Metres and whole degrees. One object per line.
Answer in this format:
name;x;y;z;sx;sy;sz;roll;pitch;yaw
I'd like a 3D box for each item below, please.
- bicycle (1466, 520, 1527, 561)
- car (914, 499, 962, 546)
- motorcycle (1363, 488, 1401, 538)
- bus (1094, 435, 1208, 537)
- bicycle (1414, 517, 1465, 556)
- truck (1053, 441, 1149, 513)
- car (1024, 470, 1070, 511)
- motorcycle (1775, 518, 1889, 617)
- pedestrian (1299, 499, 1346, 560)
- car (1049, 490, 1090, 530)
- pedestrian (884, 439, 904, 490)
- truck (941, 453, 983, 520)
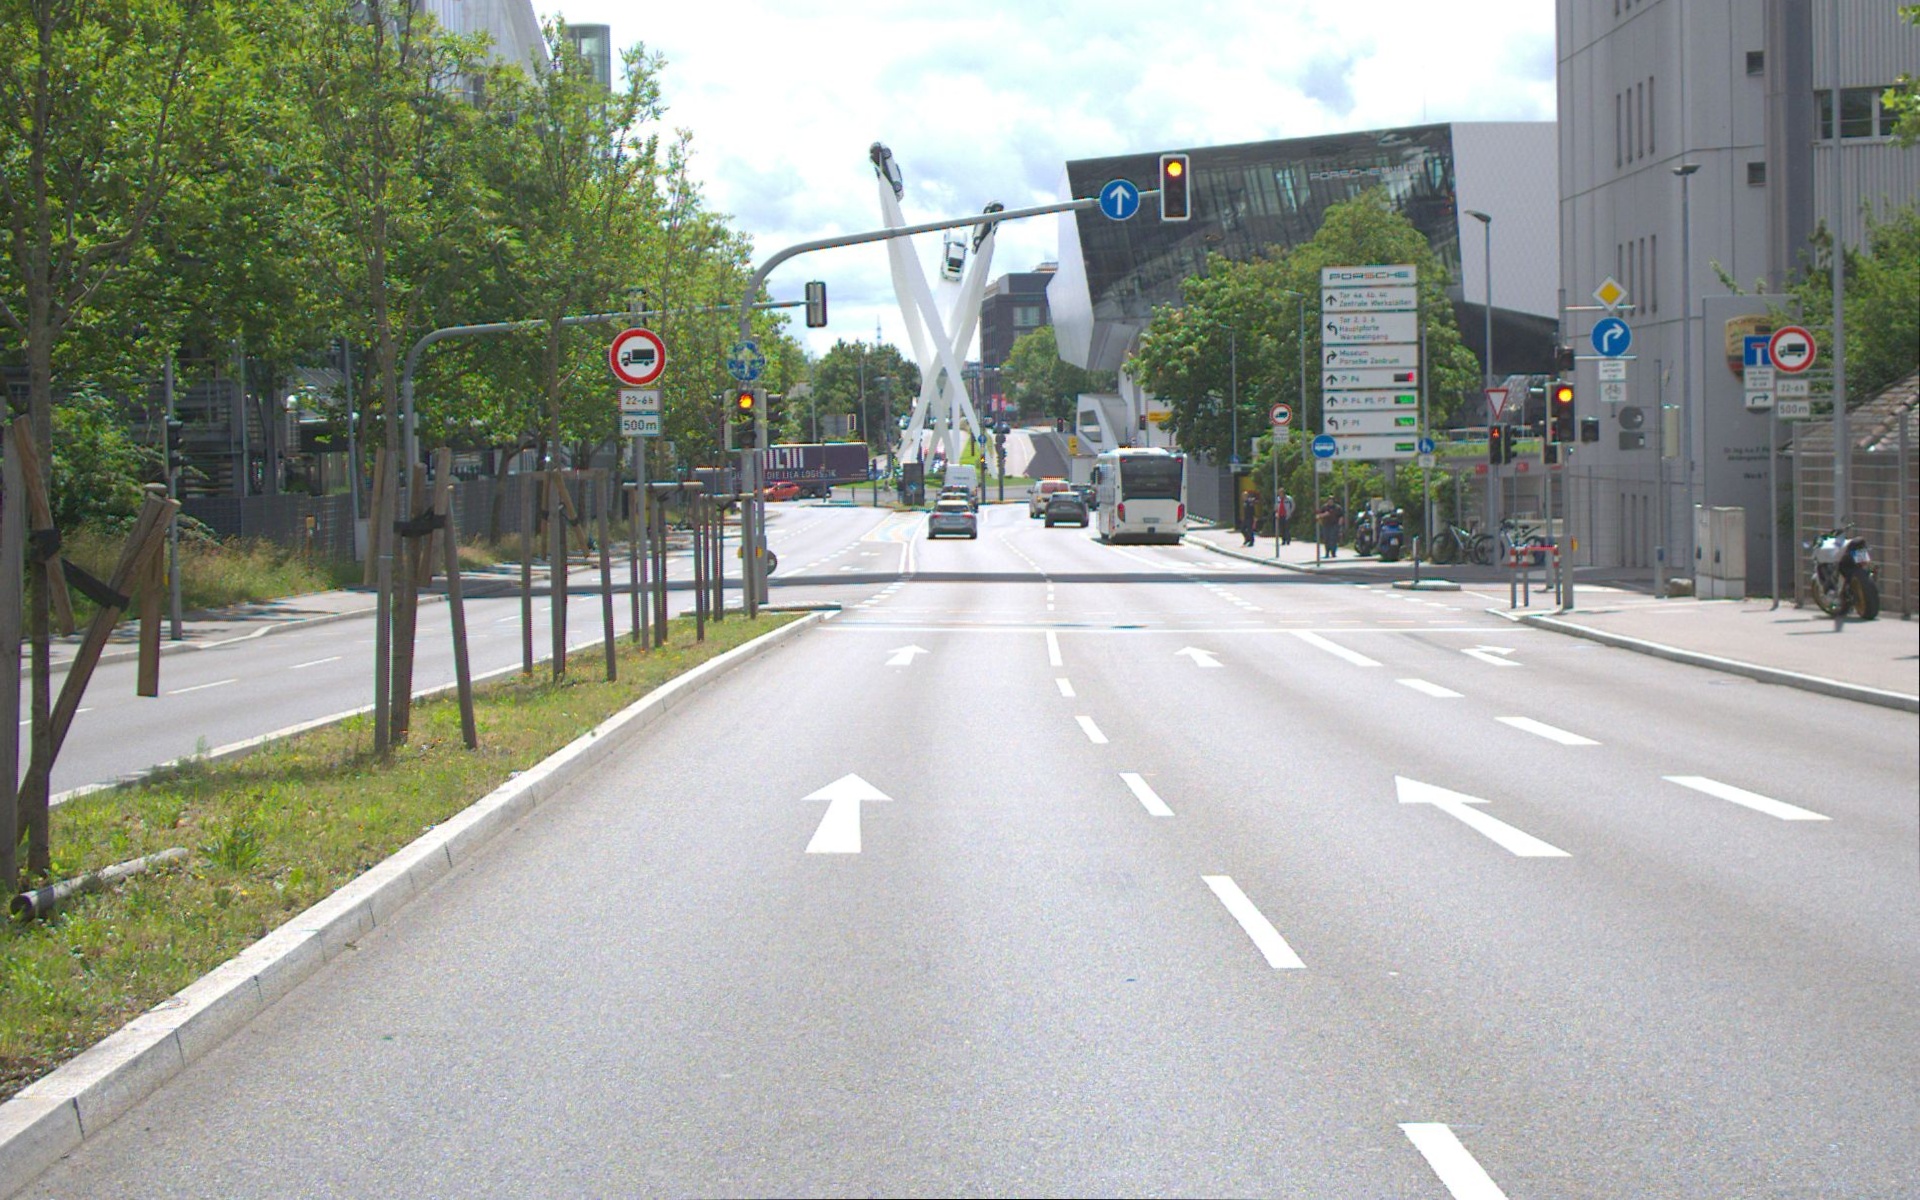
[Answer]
bicycle;12.469;-1.385;79.992;0.397;0.933;1.929;-1;2;-25
car;-0.800;-2.924;129.560;1.738;1.735;3.691;0;1;1
motorcycle;10.534;-2.191;85.893;0.706;1.199;2.024;-2;2;1
bus;6.813;-4.069;124.172;3.452;3.531;10.607;0;1;0
bicycle;11.475;-1.525;82.301;0.397;0.933;1.929;0;2;-18
truck;8.769;-7.555;212.944;3.455;4.376;9.412;1;2;18
car;4.522;-5.690;179.425;1.993;2.007;4.001;1;0;-4
motorcycle;10.688;-0.414;42.202;0.692;1.154;2.148;-2;2;-4
pedestrian;9.728;-1.895;92.261;0.849;1.619;0.954;1;2;42
car;4.855;-3.993;152.188;1.738;1.735;3.691;0;1;1
pedestrian;-4.683;-9.594;243.388;1.416;3.588;1.283;0;1;0
truck;0.112;-6.655;202.455;2.392;3.884;6.177;0;1;1
